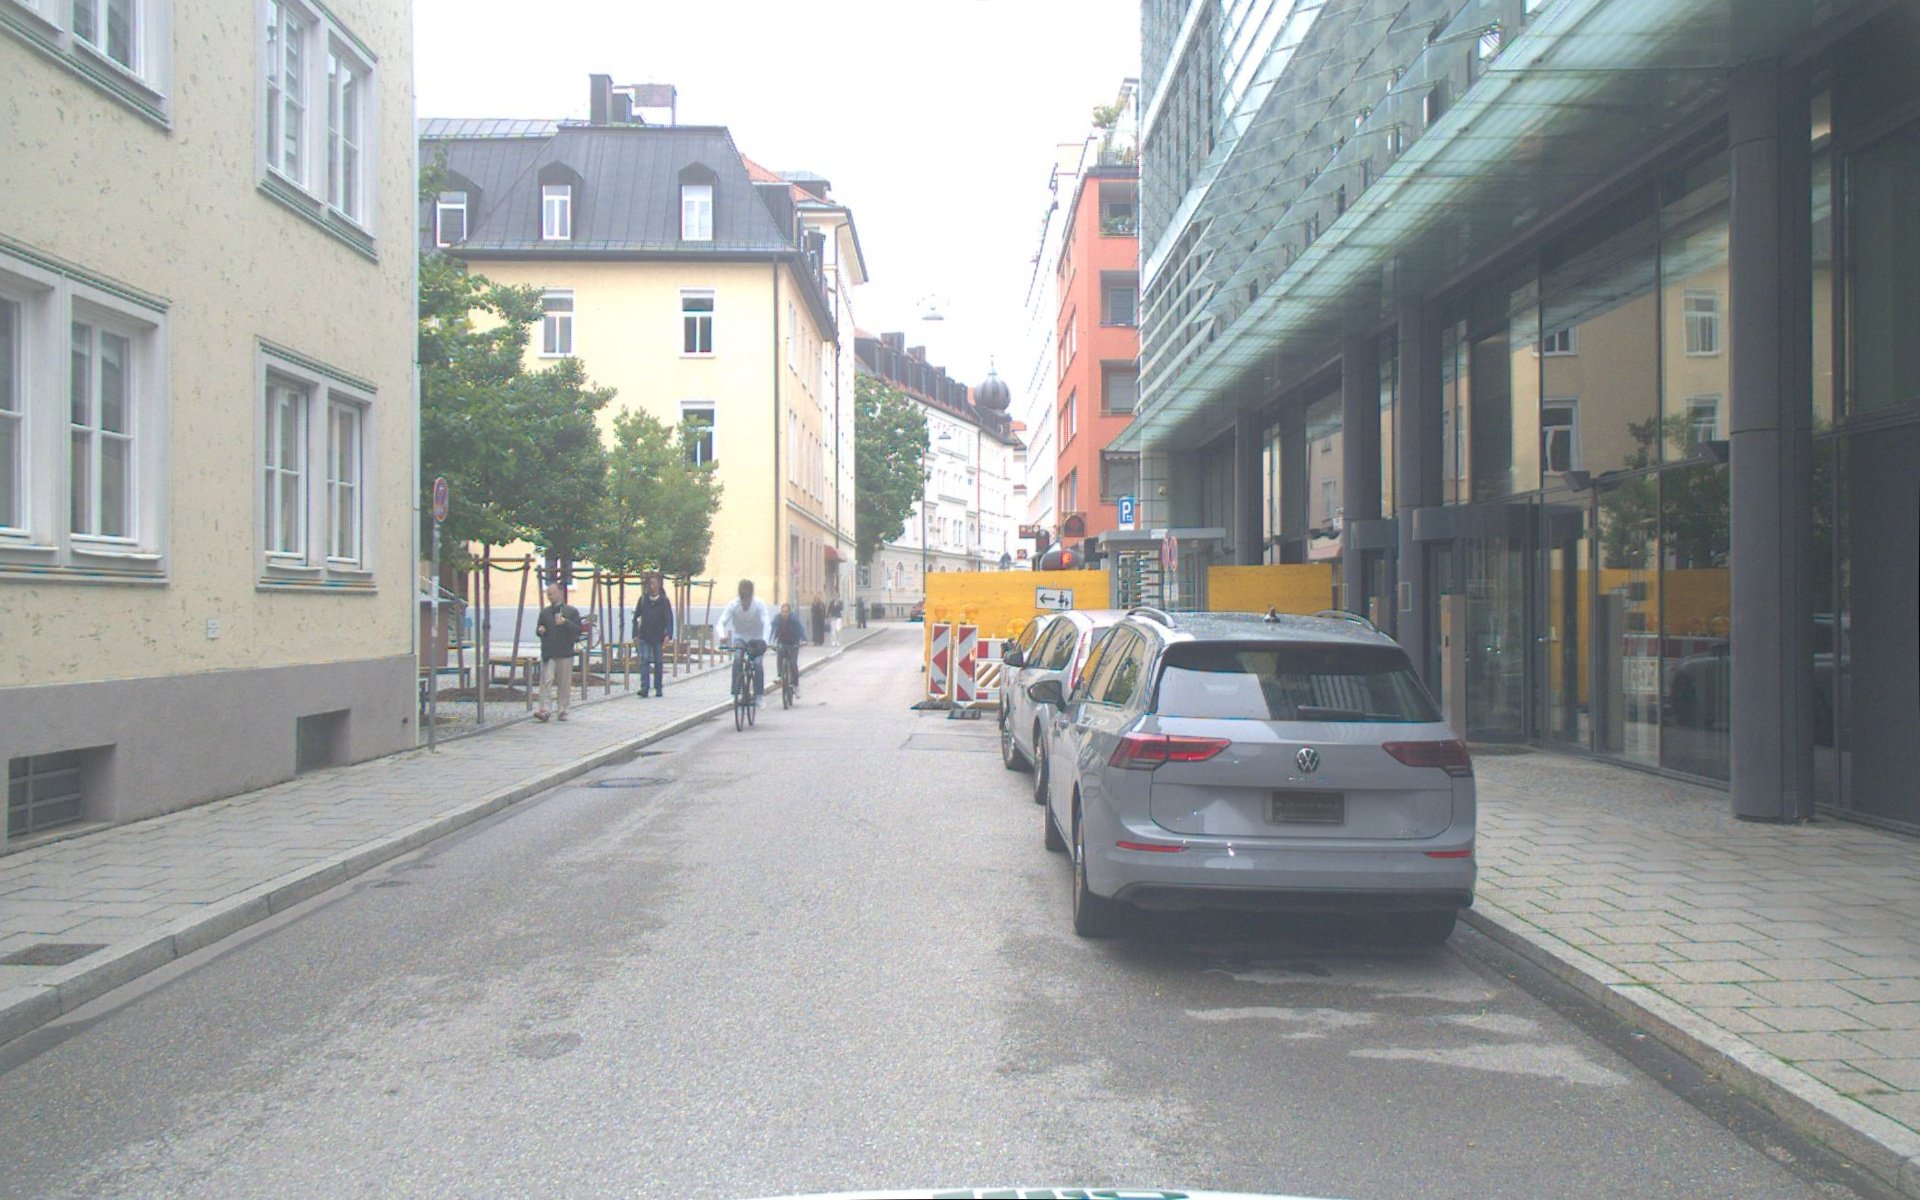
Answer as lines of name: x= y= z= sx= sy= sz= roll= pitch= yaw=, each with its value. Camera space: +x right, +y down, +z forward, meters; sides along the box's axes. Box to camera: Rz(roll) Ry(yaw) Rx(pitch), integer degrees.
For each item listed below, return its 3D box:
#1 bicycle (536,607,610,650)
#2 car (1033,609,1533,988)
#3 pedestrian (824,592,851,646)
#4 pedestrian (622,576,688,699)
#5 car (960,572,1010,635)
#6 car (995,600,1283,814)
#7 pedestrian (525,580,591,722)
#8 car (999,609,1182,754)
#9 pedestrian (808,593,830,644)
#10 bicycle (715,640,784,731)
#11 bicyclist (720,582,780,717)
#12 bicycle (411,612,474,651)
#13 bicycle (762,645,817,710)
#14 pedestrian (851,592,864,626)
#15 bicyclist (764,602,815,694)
bicycle: x=-11.210 y=0.823 z=47.898 sx=2.000 sy=1.218 sz=0.570 roll=0 pitch=0 yaw=6
car: x=1.356 y=0.780 z=8.601 sx=1.673 sy=1.457 sz=4.328 roll=0 pitch=0 yaw=-1
pedestrian: x=-4.017 y=0.624 z=54.476 sx=0.822 sy=1.730 sz=0.803 roll=1 pitch=-1 yaw=-1
pedestrian: x=-4.868 y=0.583 z=26.435 sx=0.850 sy=1.914 sz=1.134 roll=1 pitch=-1 yaw=-2
car: x=1.021 y=0.134 z=71.179 sx=1.953 sy=2.581 sz=4.974 roll=0 pitch=0 yaw=-1
car: x=1.328 y=0.779 z=13.895 sx=1.674 sy=1.493 sz=4.233 roll=1 pitch=-1 yaw=-4
pedestrian: x=-4.924 y=0.615 z=20.297 sx=0.634 sy=1.706 sz=0.723 roll=1 pitch=-1 yaw=-2
car: x=1.377 y=0.848 z=19.054 sx=1.673 sy=1.439 sz=4.508 roll=1 pitch=-1 yaw=-1
pedestrian: x=-4.686 y=0.617 z=54.951 sx=0.656 sy=1.677 sz=0.761 roll=1 pitch=-1 yaw=-1
bicycle: x=-2.664 y=1.058 z=21.080 sx=0.648 sy=1.057 sz=2.004 roll=-1 pitch=0 yaw=-1
bicyclist: x=-2.660 y=0.618 z=21.027 sx=0.646 sy=1.672 sz=0.895 roll=-1 pitch=0 yaw=-1
bicycle: x=-14.878 y=0.893 z=47.571 sx=1.621 sy=1.088 sz=0.598 roll=1 pitch=0 yaw=3
bicycle: x=-2.638 y=1.191 z=25.721 sx=0.693 sy=0.921 sz=1.809 roll=-1 pitch=0 yaw=-1
pedestrian: x=-5.175 y=0.472 z=83.664 sx=0.621 sy=1.704 sz=0.517 roll=0 pitch=0 yaw=-1
bicyclist: x=-2.644 y=0.739 z=25.731 sx=0.693 sy=1.395 sz=0.813 roll=-1 pitch=0 yaw=-1
